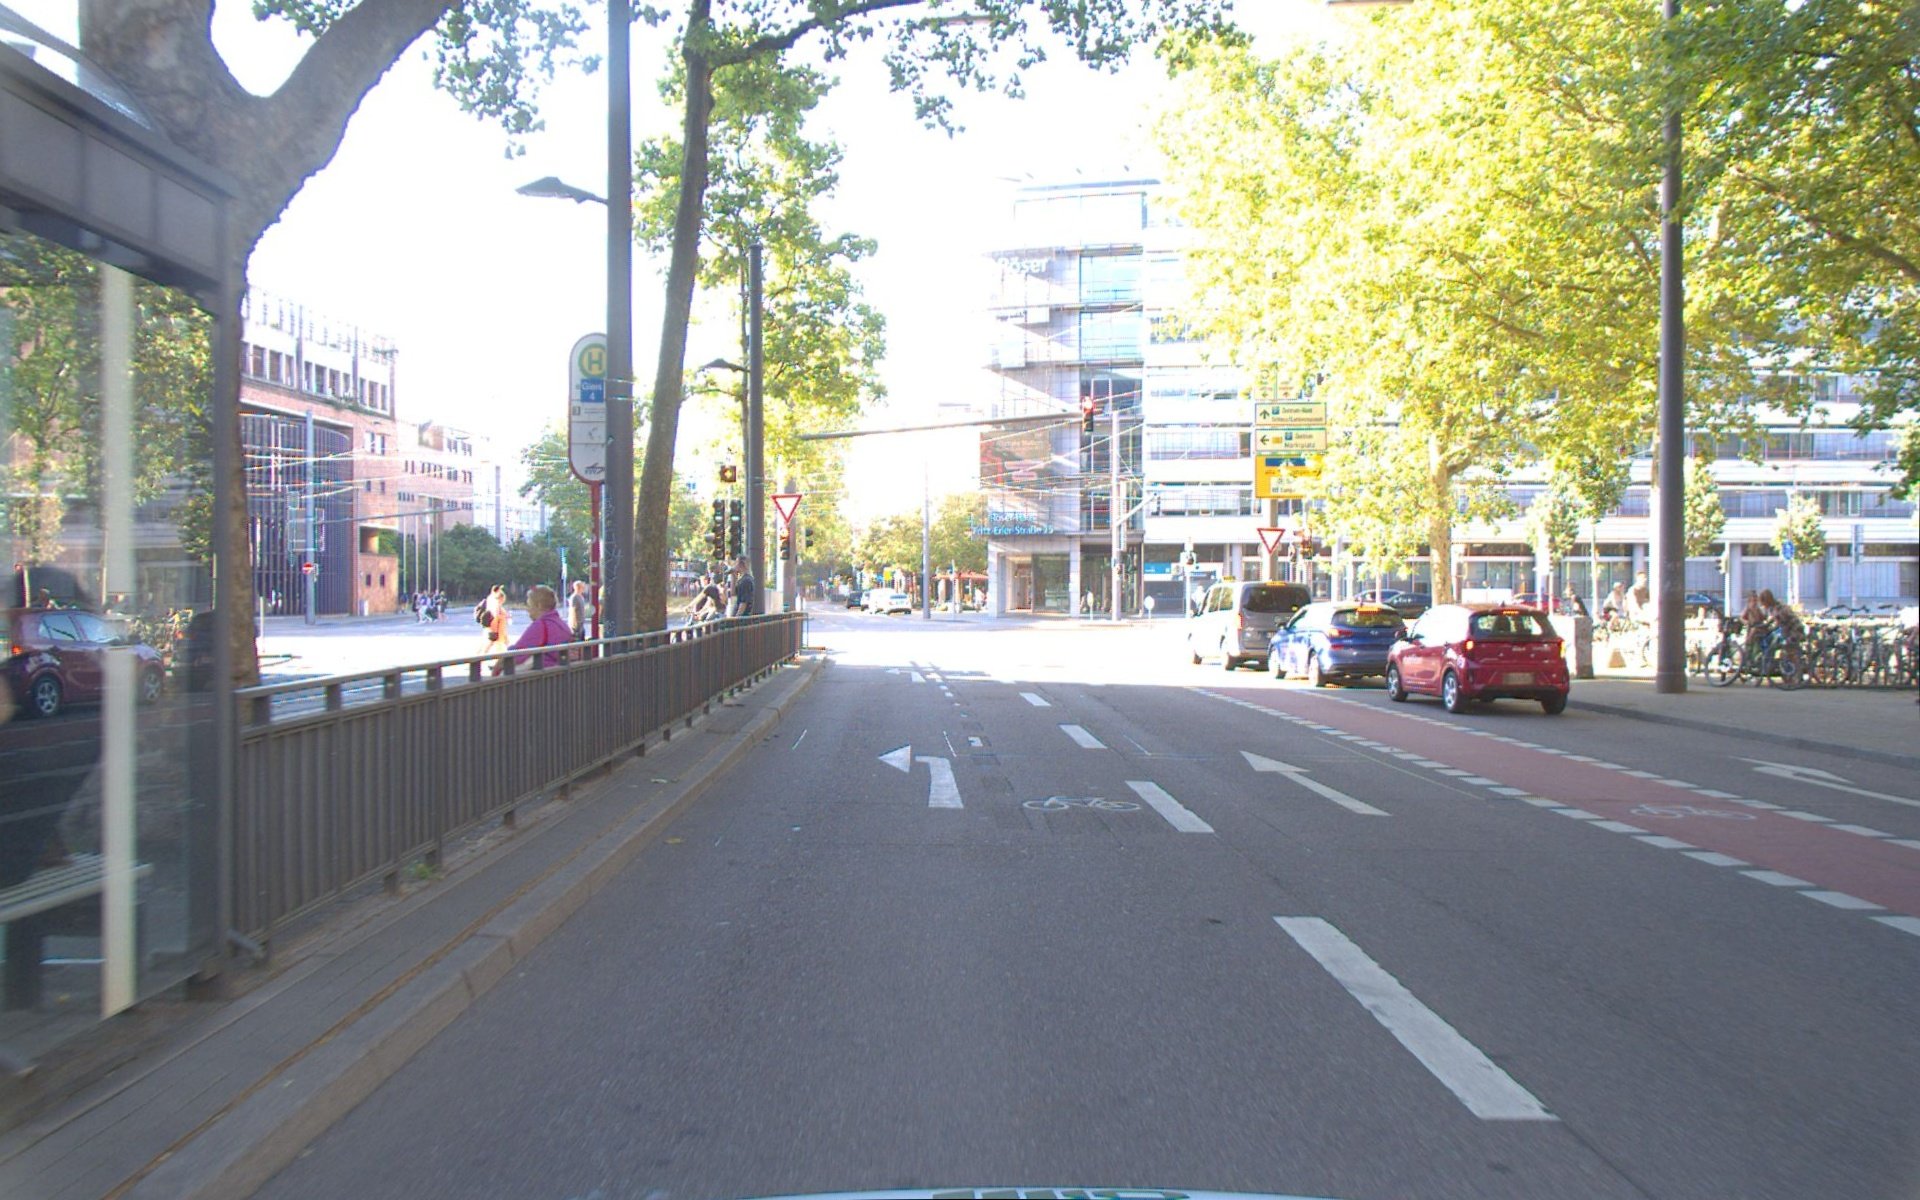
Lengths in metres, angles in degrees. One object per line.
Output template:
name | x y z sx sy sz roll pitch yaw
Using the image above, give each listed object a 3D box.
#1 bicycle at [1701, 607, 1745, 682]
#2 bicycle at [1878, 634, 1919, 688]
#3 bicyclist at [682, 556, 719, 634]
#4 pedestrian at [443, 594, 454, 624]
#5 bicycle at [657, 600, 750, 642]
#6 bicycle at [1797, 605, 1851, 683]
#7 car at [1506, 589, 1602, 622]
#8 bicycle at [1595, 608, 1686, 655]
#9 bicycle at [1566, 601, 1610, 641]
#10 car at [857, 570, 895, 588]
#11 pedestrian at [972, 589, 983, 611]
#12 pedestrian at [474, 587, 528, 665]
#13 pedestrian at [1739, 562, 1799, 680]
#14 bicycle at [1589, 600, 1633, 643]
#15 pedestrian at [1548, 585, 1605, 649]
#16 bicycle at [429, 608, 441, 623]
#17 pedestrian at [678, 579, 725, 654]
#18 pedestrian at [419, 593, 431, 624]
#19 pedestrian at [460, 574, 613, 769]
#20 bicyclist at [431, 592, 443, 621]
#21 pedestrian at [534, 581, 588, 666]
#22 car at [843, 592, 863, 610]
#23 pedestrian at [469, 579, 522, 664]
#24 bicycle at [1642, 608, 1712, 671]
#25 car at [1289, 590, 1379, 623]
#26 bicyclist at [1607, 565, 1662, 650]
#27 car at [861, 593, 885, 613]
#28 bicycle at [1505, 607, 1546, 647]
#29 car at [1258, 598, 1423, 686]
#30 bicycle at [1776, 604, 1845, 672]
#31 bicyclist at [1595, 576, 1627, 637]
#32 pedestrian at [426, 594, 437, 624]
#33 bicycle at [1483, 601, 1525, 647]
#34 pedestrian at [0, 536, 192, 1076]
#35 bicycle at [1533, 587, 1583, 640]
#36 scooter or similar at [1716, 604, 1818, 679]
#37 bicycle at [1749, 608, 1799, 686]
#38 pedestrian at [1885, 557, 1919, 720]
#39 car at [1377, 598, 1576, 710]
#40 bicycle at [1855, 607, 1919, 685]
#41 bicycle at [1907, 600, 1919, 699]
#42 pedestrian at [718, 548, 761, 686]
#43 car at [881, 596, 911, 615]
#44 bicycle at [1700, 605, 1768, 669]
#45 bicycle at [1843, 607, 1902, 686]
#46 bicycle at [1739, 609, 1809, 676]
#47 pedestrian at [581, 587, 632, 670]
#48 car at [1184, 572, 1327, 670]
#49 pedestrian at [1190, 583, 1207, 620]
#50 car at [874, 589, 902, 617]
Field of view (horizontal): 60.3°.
bicycle | 12.182 0.692 26.432 0.583 1.135 1.825 -1 0 23
bicycle | 14.058 0.891 24.170 1.086 0.774 0.399 0 0 24
bicyclist | -6.067 -0.118 38.733 0.834 1.816 0.751 -1 0 -9
pedestrian | -28.436 0.507 91.908 0.529 1.679 0.621 -1 0 -23
bicycle | -5.997 0.488 38.752 2.137 0.950 0.666 0 0 -10
bicycle | 13.262 0.660 25.408 0.583 1.135 1.825 -1 0 23
car | 29.542 0.260 82.362 4.152 1.587 1.796 -1 0 2
bicycle | 14.608 0.663 35.570 0.655 0.950 2.176 0 0 -14
bicycle | 16.118 0.532 42.484 0.441 1.000 1.475 0 0 -5
car | -8.825 -2.218 174.576 3.681 1.780 1.783 1 -1 11
pedestrian | 1.188 -0.028 113.877 0.725 1.491 0.536 -1 0 -6
pedestrian | -10.249 0.572 36.957 1.053 1.711 0.756 1 -1 -11
pedestrian | 12.654 0.323 25.884 0.789 1.817 0.657 -1 0 22
bicycle | 17.829 0.575 45.316 0.554 1.146 1.779 0 0 2
pedestrian | 18.108 0.500 48.593 1.186 1.854 1.040 1 -1 -9
bicycle | -31.197 0.921 98.339 0.503 0.897 1.834 0 0 -12
pedestrian | -6.179 0.393 39.537 1.053 1.745 0.627 1 -1 -8
pedestrian | -29.503 0.476 91.189 0.529 1.679 0.621 -1 0 -23
pedestrian | -3.211 0.533 12.599 0.956 1.424 0.664 1 -1 1
bicyclist | -31.100 0.401 98.407 0.582 1.705 0.788 0 0 -10
pedestrian | -9.110 0.535 37.796 1.125 1.927 0.831 1 -1 -11
car | -10.412 0.099 160.994 1.954 1.691 3.997 0 0 -4
pedestrian | -10.571 0.478 37.662 1.054 1.904 0.737 1 -1 -11
bicycle | 12.907 0.696 29.801 0.614 1.075 1.572 0 0 2
car | 18.792 0.309 83.314 4.152 1.630 1.796 -1 0 2
bicyclist | 14.568 0.162 35.745 0.737 1.798 0.849 -1 0 -14
car | -7.366 0.245 139.414 1.954 1.691 3.997 0 0 -4
bicycle | 14.547 0.695 42.580 0.441 1.000 1.475 0 0 -5
car | 6.885 0.715 30.355 1.730 1.490 4.213 -1 0 -5
bicycle | 15.410 0.673 30.003 0.412 1.180 1.476 0 0 -3
bicyclist | 17.825 0.180 45.303 0.550 1.644 0.822 0 0 2
pedestrian | -29.540 0.520 92.505 0.529 1.679 0.621 -1 0 -23
bicycle | 13.936 0.606 42.398 0.441 1.164 1.475 0 0 -5
pedestrian | -2.699 0.535 4.668 0.719 1.412 0.640 1 -1 1
bicycle | 15.368 0.339 42.548 0.441 1.309 1.885 0 0 -5
scooter or similar | 13.427 0.697 27.515 1.233 1.162 0.912 3 -3 -18
bicycle | 12.682 0.711 25.795 0.583 1.135 1.948 -1 0 23
pedestrian | 11.075 0.424 18.618 0.854 1.817 0.808 0 0 -4
car | 7.380 0.726 23.962 1.528 1.490 3.618 1 0 -4
bicycle | 14.680 0.700 25.762 0.470 1.180 1.472 0 0 -12
bicycle | 12.824 0.641 20.858 0.584 1.286 1.875 0 0 -4
pedestrian | -3.155 0.237 23.664 0.499 1.933 0.759 1 -1 -3
car | -4.545 0.385 117.380 1.954 1.355 3.997 0 0 -4
bicycle | 13.934 0.652 29.805 0.412 1.100 1.475 0 0 -5
bicycle | 13.869 0.681 25.167 0.594 1.135 1.825 -1 0 23
bicycle | 14.709 0.752 29.909 0.412 1.180 1.475 0 0 -5
pedestrian | -7.939 0.630 37.177 1.052 1.837 0.756 1 -1 -11
car | 6.497 0.425 36.953 1.954 2.000 5.133 1 0 -4
pedestrian | 11.301 0.073 78.320 0.705 1.711 0.557 1 0 3
car | -5.428 0.200 124.257 1.954 2.026 3.997 0 0 -4
